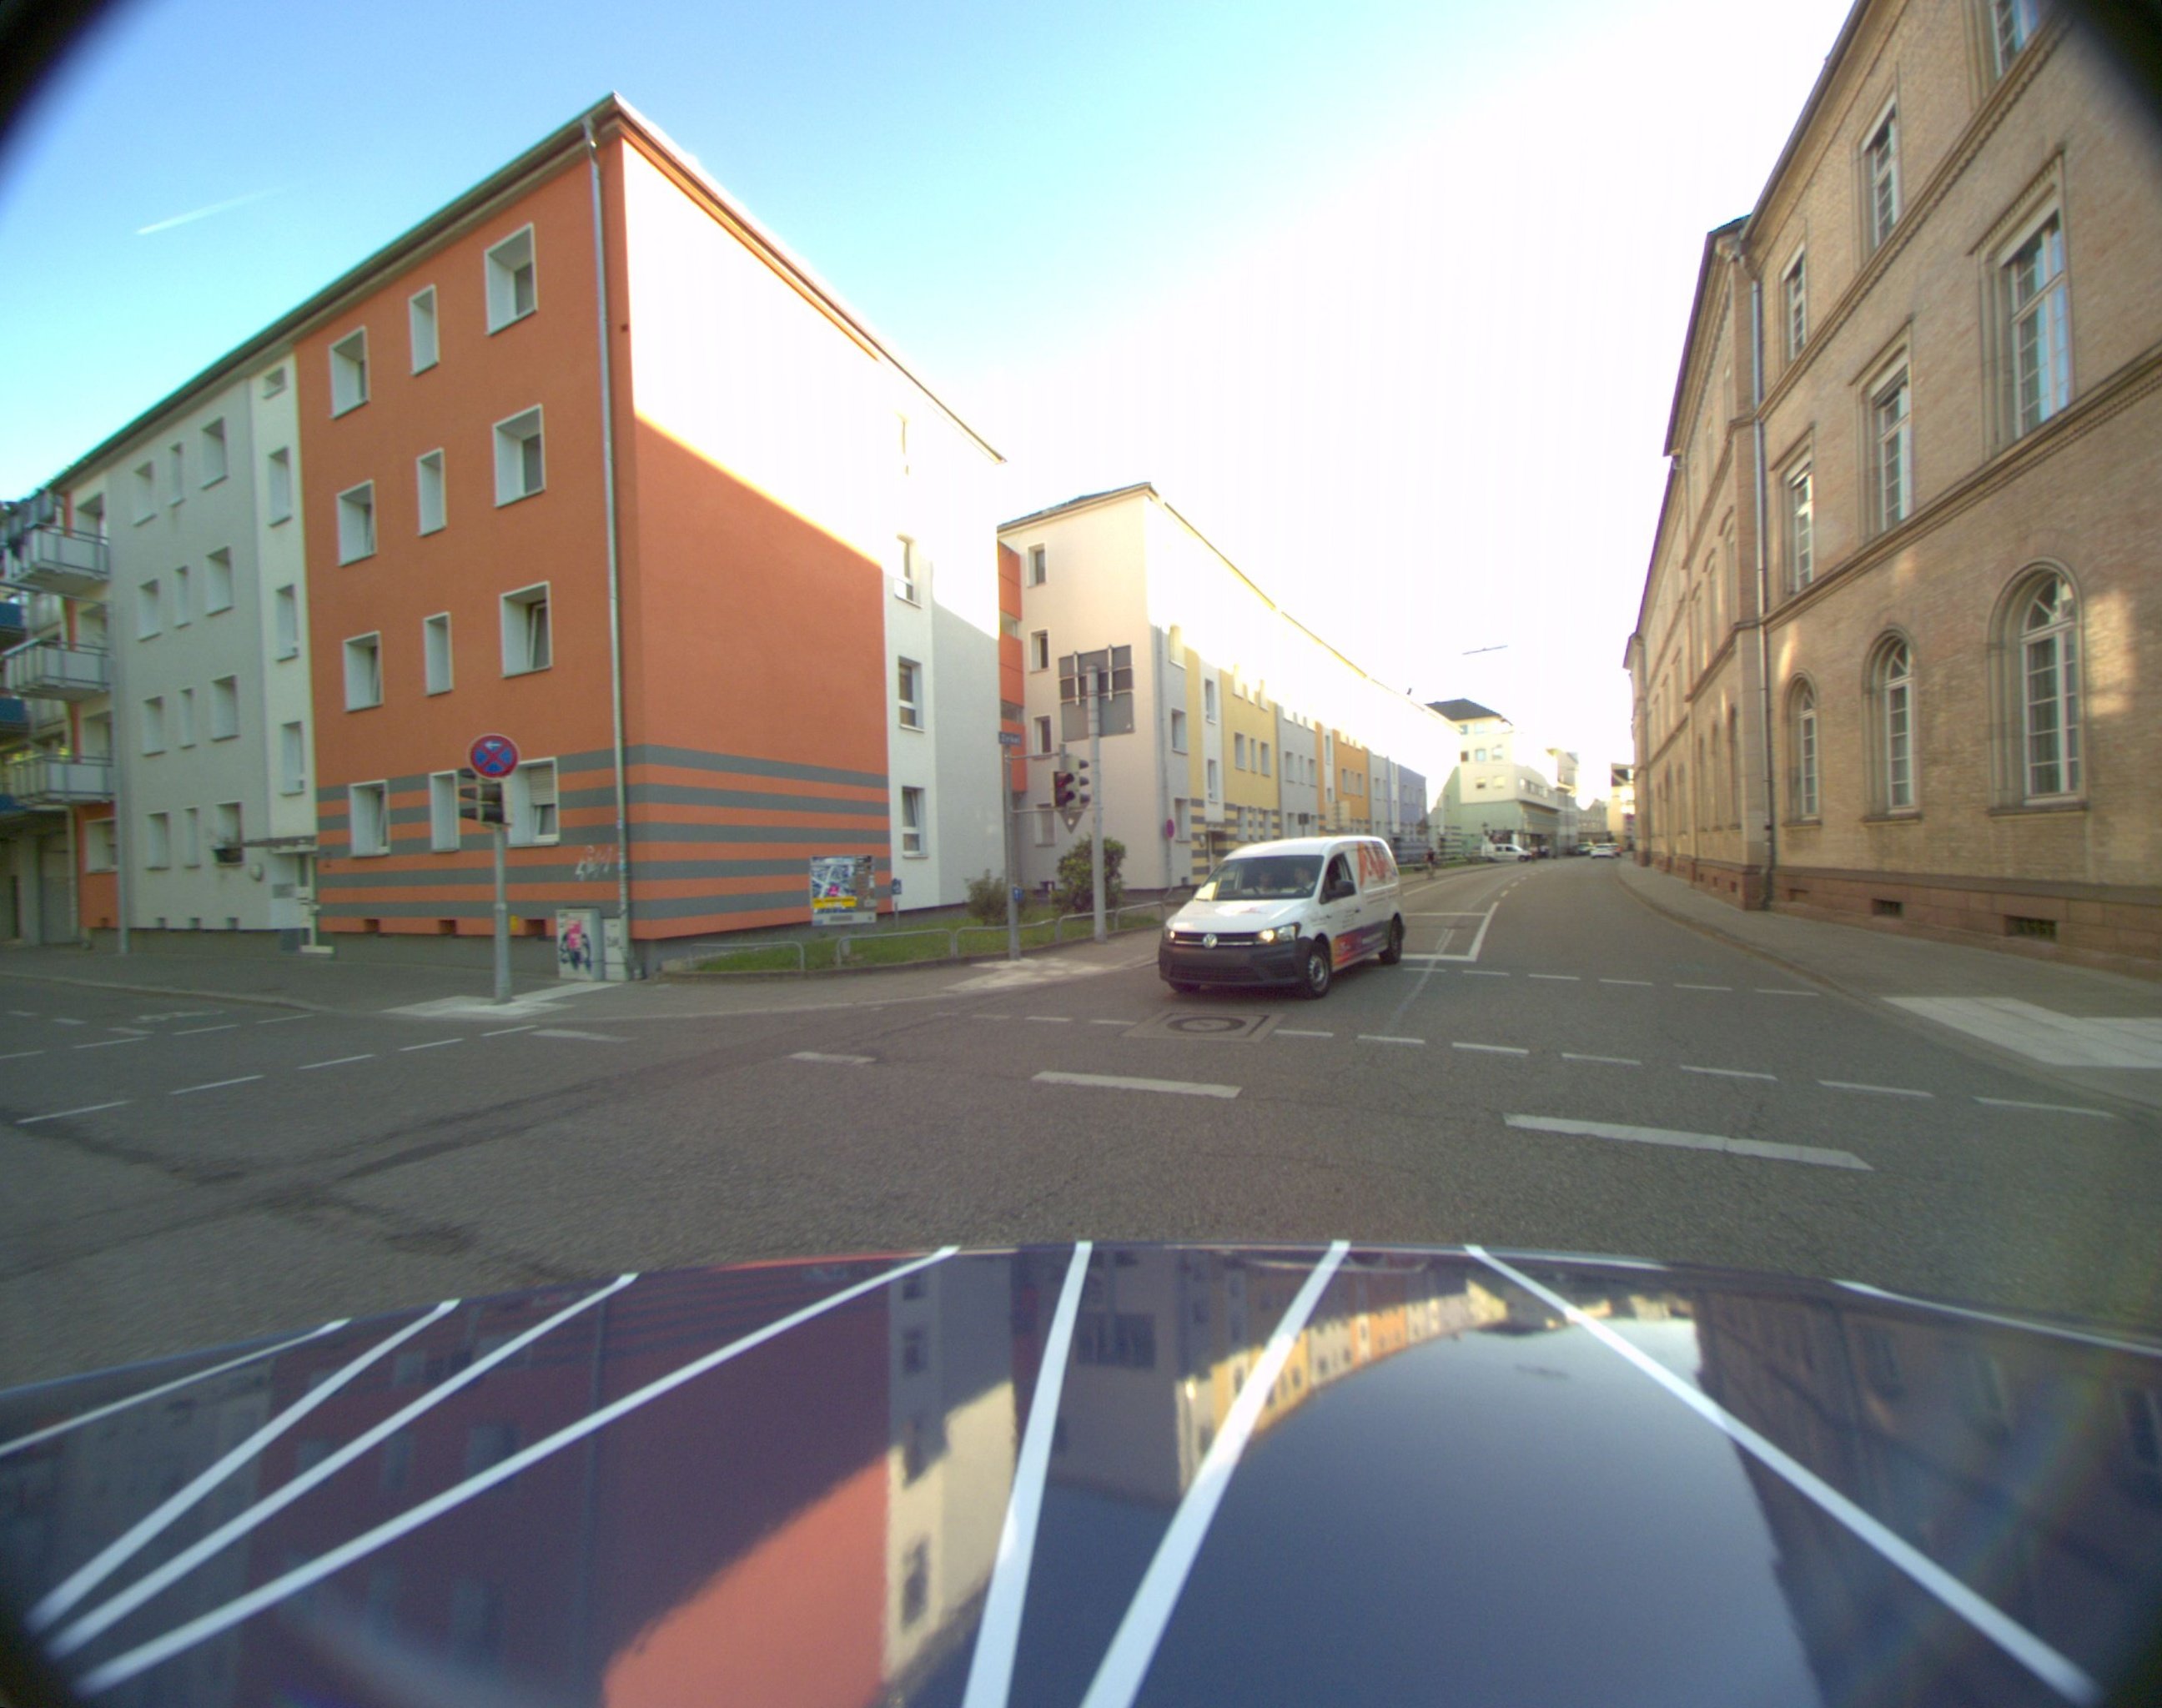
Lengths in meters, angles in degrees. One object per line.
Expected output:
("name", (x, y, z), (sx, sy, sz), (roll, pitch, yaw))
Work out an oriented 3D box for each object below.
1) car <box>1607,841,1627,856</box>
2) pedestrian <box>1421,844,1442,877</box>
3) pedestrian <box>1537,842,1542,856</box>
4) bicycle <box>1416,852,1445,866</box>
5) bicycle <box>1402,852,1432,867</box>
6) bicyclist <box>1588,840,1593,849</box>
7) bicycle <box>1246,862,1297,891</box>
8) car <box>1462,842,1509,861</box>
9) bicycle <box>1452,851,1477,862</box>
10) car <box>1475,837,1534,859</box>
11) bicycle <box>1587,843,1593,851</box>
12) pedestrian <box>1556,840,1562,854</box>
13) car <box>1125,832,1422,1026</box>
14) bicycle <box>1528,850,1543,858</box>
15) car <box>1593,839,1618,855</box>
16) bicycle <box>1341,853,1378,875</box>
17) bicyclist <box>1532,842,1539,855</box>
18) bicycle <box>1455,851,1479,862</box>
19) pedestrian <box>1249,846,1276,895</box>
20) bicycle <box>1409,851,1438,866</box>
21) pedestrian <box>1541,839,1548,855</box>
("car", (60.657, -0.662, 85.897), (1.686, 1.573, 4.283), (1, 2, 37))
("pedestrian", (17.441, 0.328, 37.833), (0.767, 1.610, 0.936), (-2, 0, 34))
("pedestrian", (50.465, -0.550, 83.588), (0.371, 1.546, 0.404), (-1, 1, 41))
("bicycle", (24.884, 0.332, 54.062), (1.772, 0.934, 0.585), (0, 2, 38))
("bicycle", (23.313, 0.354, 52.715), (1.772, 0.990, 0.585), (0, 2, 38))
("bicyclist", (72.527, -1.374, 108.193), (0.547, 1.204, 0.585), (-2, 1, 36))
("bicycle", (7.137, 0.825, 28.434), (1.773, 1.043, 0.584), (0, 2, 26))
("car", (41.789, -0.231, 78.571), (3.990, 1.681, 1.904), (-4, 0, 35))
("bicycle", (32.294, 0.229, 63.939), (1.772, 0.934, 0.585), (0, 2, 38))
("car", (41.374, -0.557, 74.319), (4.755, 1.927, 2.004), (-2, 0, 40))
("bicycle", (72.550, -0.959, 108.261), (0.547, 1.076, 1.967), (-2, 0, 36))
("pedestrian", (52.757, -0.777, 83.902), (0.507, 1.551, 0.412), (-2, 1, 35))
("car", (2.808, 0.681, 9.806), (1.815, 1.825, 5.352), (-2, 0, 36))
("bicycle", (39.017, 0.001, 65.251), (1.117, 0.719, 0.348), (-2, 0, -5))
("car", (50.728, -0.714, 73.489), (1.887, 1.467, 4.554), (1, 2, 36))
("bicycle", (14.865, 0.538, 40.541), (1.773, 1.118, 0.585), (0, 2, 30))
("bicyclist", (39.005, -0.436, 65.252), (0.367, 1.101, 0.348), (-2, 1, -5))
("bicycle", (33.147, 0.232, 65.223), (1.772, 0.934, 0.585), (0, 2, 38))
("pedestrian", (6.296, 0.560, 26.370), (0.643, 1.662, 0.836), (-1, 1, 32))
("bicycle", (24.235, 0.315, 53.730), (1.772, 0.990, 0.585), (0, 2, 38))
("pedestrian", (50.319, -0.728, 82.501), (0.507, 1.752, 0.412), (-2, 1, 35))
